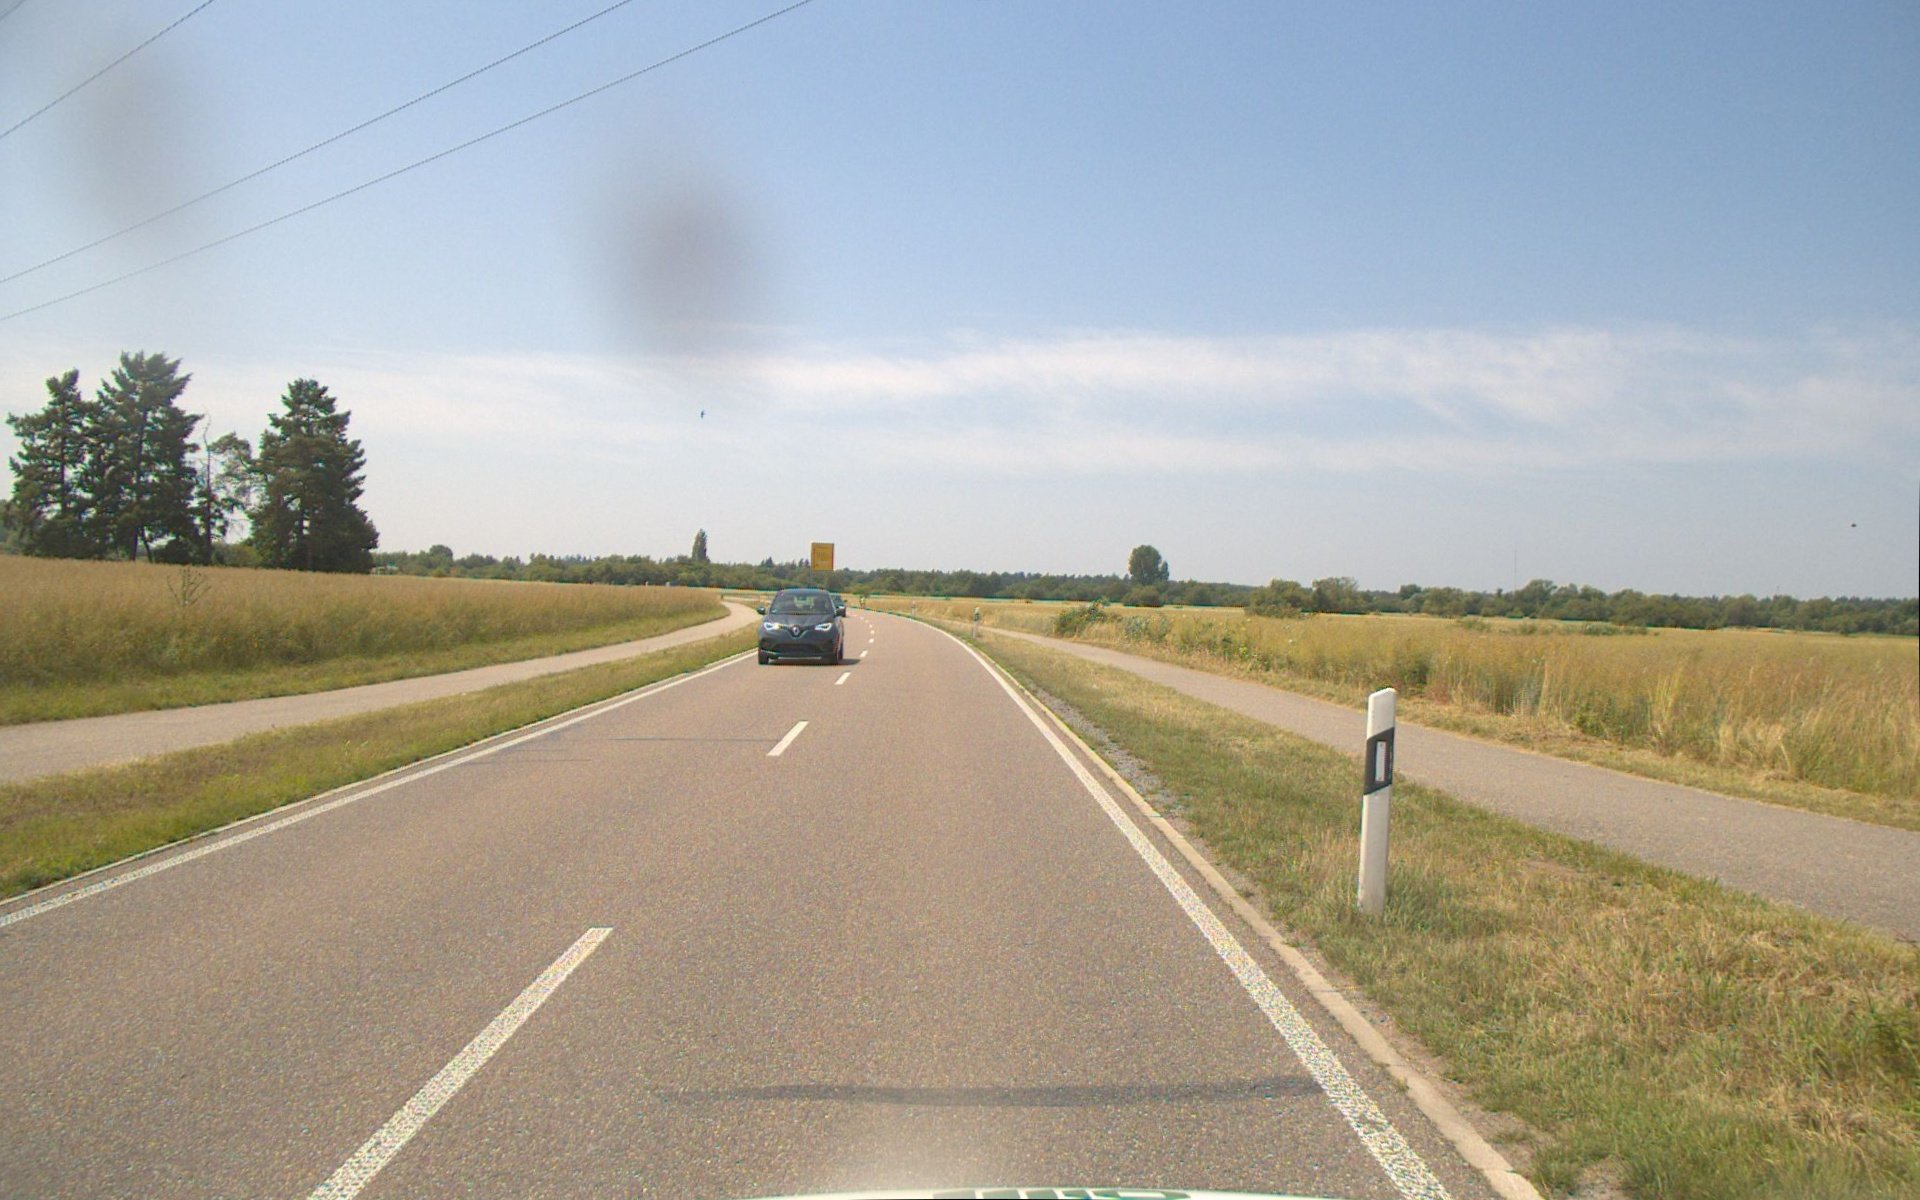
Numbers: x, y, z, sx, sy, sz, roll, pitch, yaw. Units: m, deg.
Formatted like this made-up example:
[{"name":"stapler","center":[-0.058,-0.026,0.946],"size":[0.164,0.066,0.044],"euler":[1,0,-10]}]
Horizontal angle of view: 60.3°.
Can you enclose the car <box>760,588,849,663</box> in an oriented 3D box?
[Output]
[{"name":"car","center":[-3.333,0.542,35.998],"size":[1.590,1.517,3.999],"euler":[0,-1,-1]}]

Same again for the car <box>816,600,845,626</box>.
[{"name":"car","center":[-8.241,0.817,105.233],"size":[1.679,1.614,3.497],"euler":[0,-1,-7]}]
